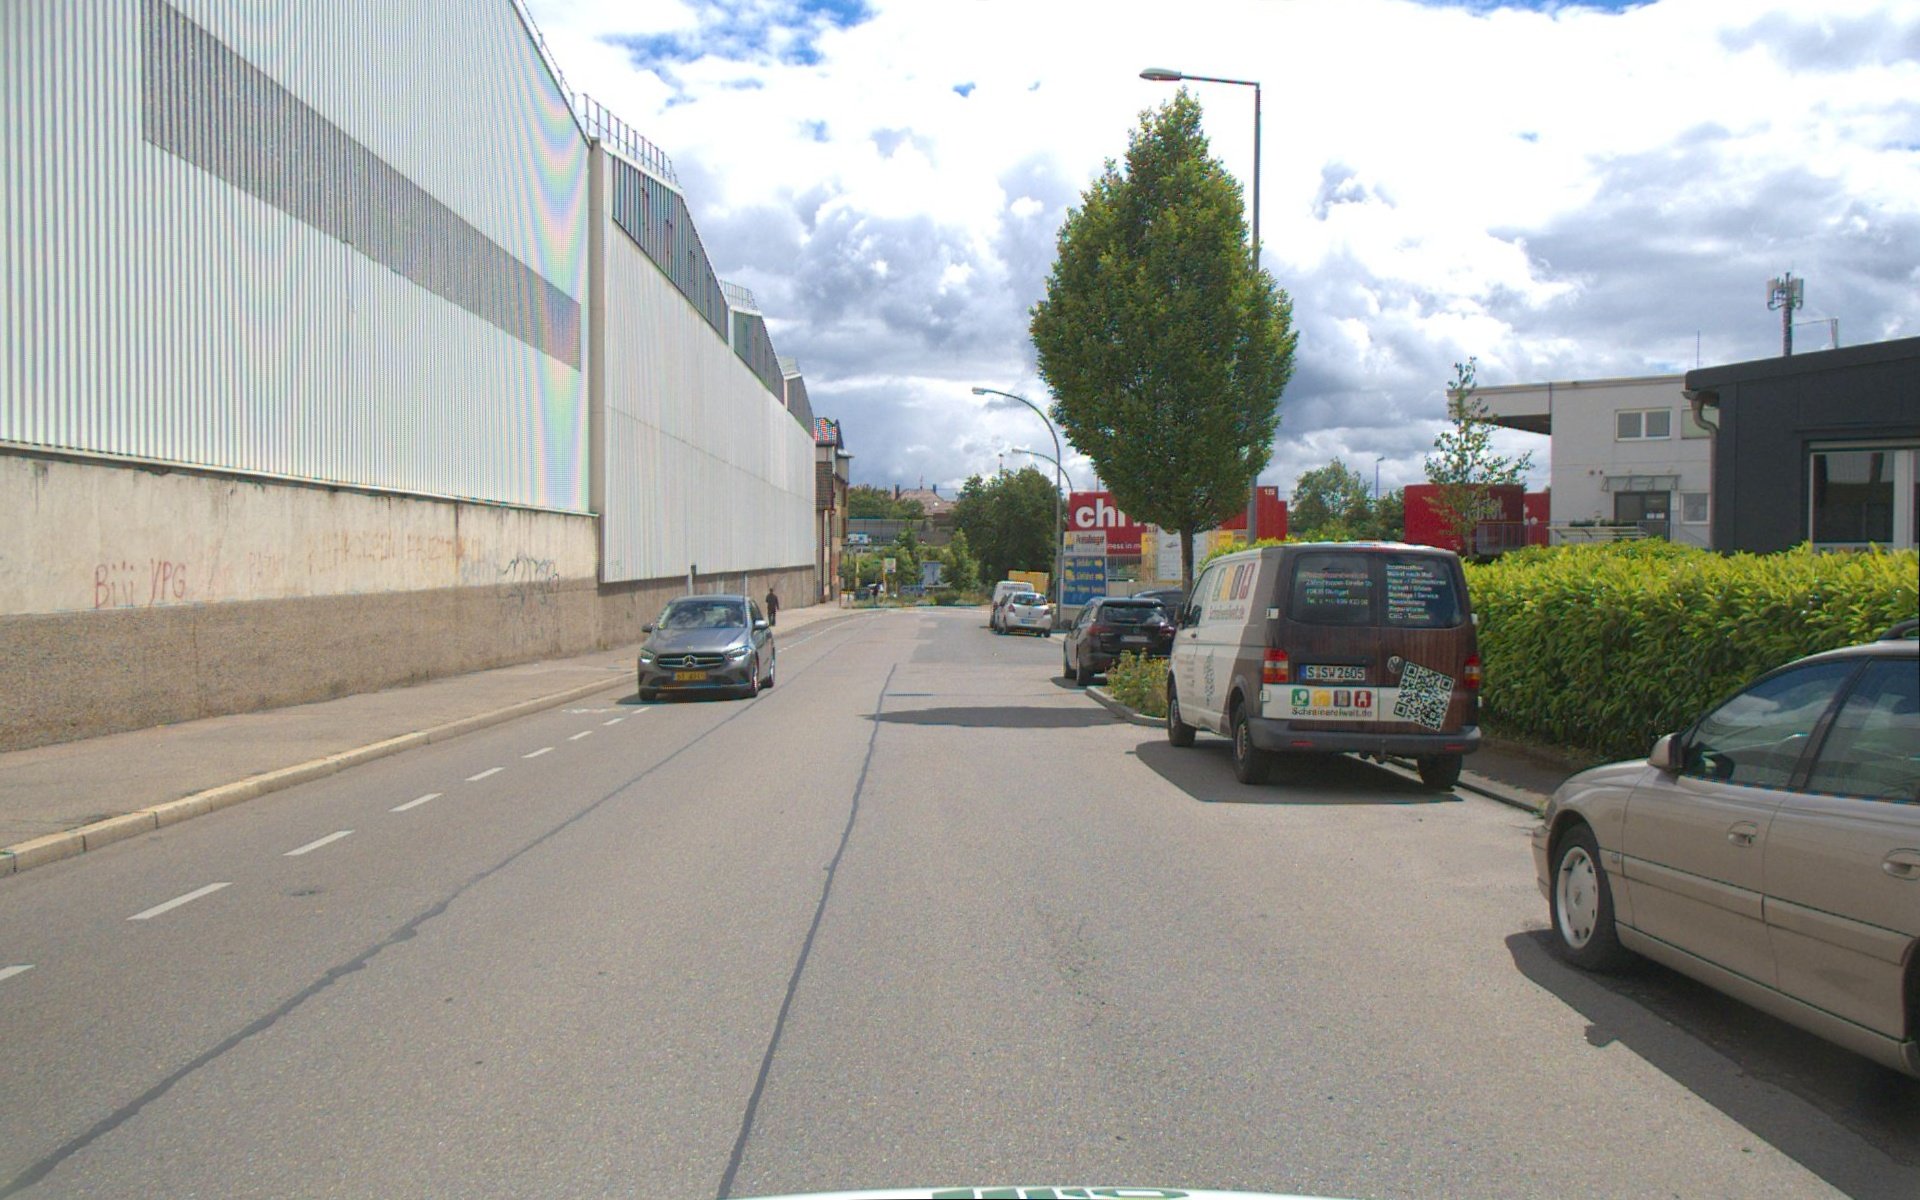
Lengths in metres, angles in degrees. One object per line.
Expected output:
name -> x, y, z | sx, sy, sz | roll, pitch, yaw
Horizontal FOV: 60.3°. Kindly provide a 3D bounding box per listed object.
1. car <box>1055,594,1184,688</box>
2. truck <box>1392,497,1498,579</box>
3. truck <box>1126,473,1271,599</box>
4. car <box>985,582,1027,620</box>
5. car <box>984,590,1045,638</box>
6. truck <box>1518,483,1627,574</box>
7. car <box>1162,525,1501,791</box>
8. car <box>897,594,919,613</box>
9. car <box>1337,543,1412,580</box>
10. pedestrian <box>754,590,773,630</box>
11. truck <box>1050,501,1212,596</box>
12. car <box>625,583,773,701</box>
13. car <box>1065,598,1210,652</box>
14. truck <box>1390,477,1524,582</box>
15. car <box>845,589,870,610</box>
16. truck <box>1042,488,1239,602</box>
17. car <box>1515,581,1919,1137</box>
car -> 2.696, 0.662, 28.857 | 1.679, 1.499, 4.509 | 0, 0, -2
truck -> 27.661, -3.442, 94.069 | 2.941, 4.131, 8.439 | -1, -2, 38
truck -> 9.425, -2.401, 66.417 | 2.535, 4.527, 7.820 | 1, -2, -18
car -> 1.936, 0.048, 69.919 | 1.666, 1.554, 3.738 | 1, 0, 0
car -> 1.927, 0.485, 59.162 | 1.668, 1.554, 3.734 | 3, 0, -5
truck -> 31.910, -3.606, 85.930 | 2.941, 4.131, 8.439 | -1, -2, 38
car -> 3.152, 0.443, 15.204 | 1.831, 2.025, 5.142 | 0, 0, -2
car -> -4.306, 0.319, 137.342 | 1.815, 1.512, 3.998 | 0, -2, -2
car -> 32.198, -2.947, 128.544 | 5.522, 2.724, 2.000 | 0, -2, 20
pedestrian -> -8.290, 0.419, 69.665 | 0.698, 1.666, 0.777 | 0, -2, 0
truck -> 8.958, -2.654, 86.497 | 8.269, 4.753, 2.584 | 0, -2, 9
car -> -3.972, 0.630, 25.774 | 1.685, 1.583, 4.286 | -3, -1, -2
car -> 5.008, 0.694, 46.660 | 3.731, 1.472, 1.694 | 0, 0, -24
truck -> 22.419, -3.033, 74.315 | 2.941, 4.131, 8.439 | -1, -2, 38
car -> -7.787, -0.035, 125.792 | 1.815, 1.512, 3.998 | 0, -2, -2
truck -> 7.979, -2.337, 73.245 | 8.274, 4.753, 2.583 | 0, -2, 20
car -> 3.493, 0.732, 5.462 | 1.622, 1.567, 4.732 | 0, 0, -2
